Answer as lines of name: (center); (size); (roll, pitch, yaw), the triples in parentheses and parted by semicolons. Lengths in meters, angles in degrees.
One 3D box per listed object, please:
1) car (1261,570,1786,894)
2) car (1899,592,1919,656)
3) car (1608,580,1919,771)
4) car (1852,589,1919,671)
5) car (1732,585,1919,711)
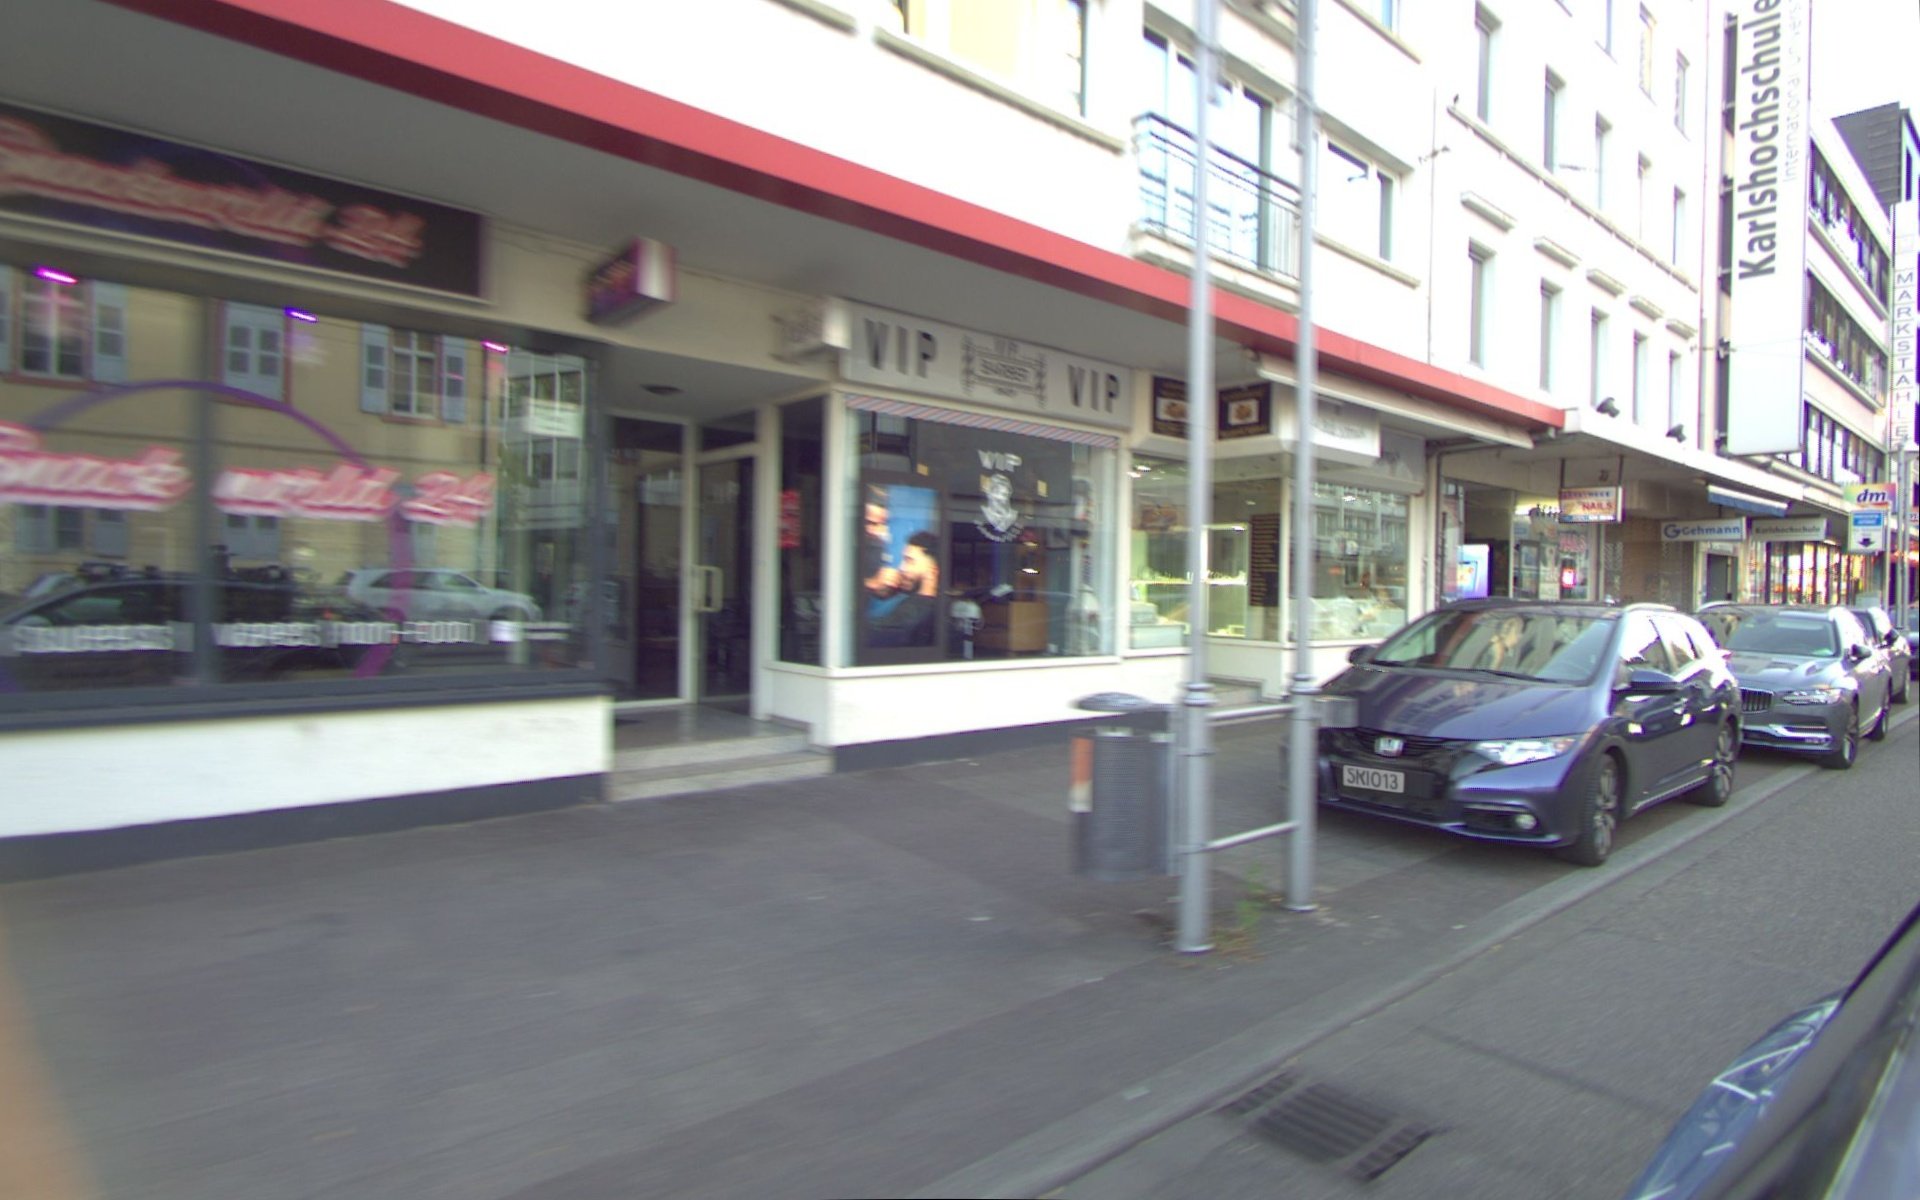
car: (4.047, 0.625, 6.954); (4.227, 1.530, 1.739); (0, 3, -40)
car: (25.011, 0.613, 25.283); (4.182, 1.530, 1.748); (0, 3, -40)
car: (8.597, 0.616, 10.650); (4.631, 1.530, 1.793); (0, 3, -42)
car: (19.904, 0.598, 20.815); (4.093, 1.530, 1.724); (0, 3, -40)
car: (12.864, 0.603, 14.775); (3.963, 1.530, 1.689); (0, 3, -40)
